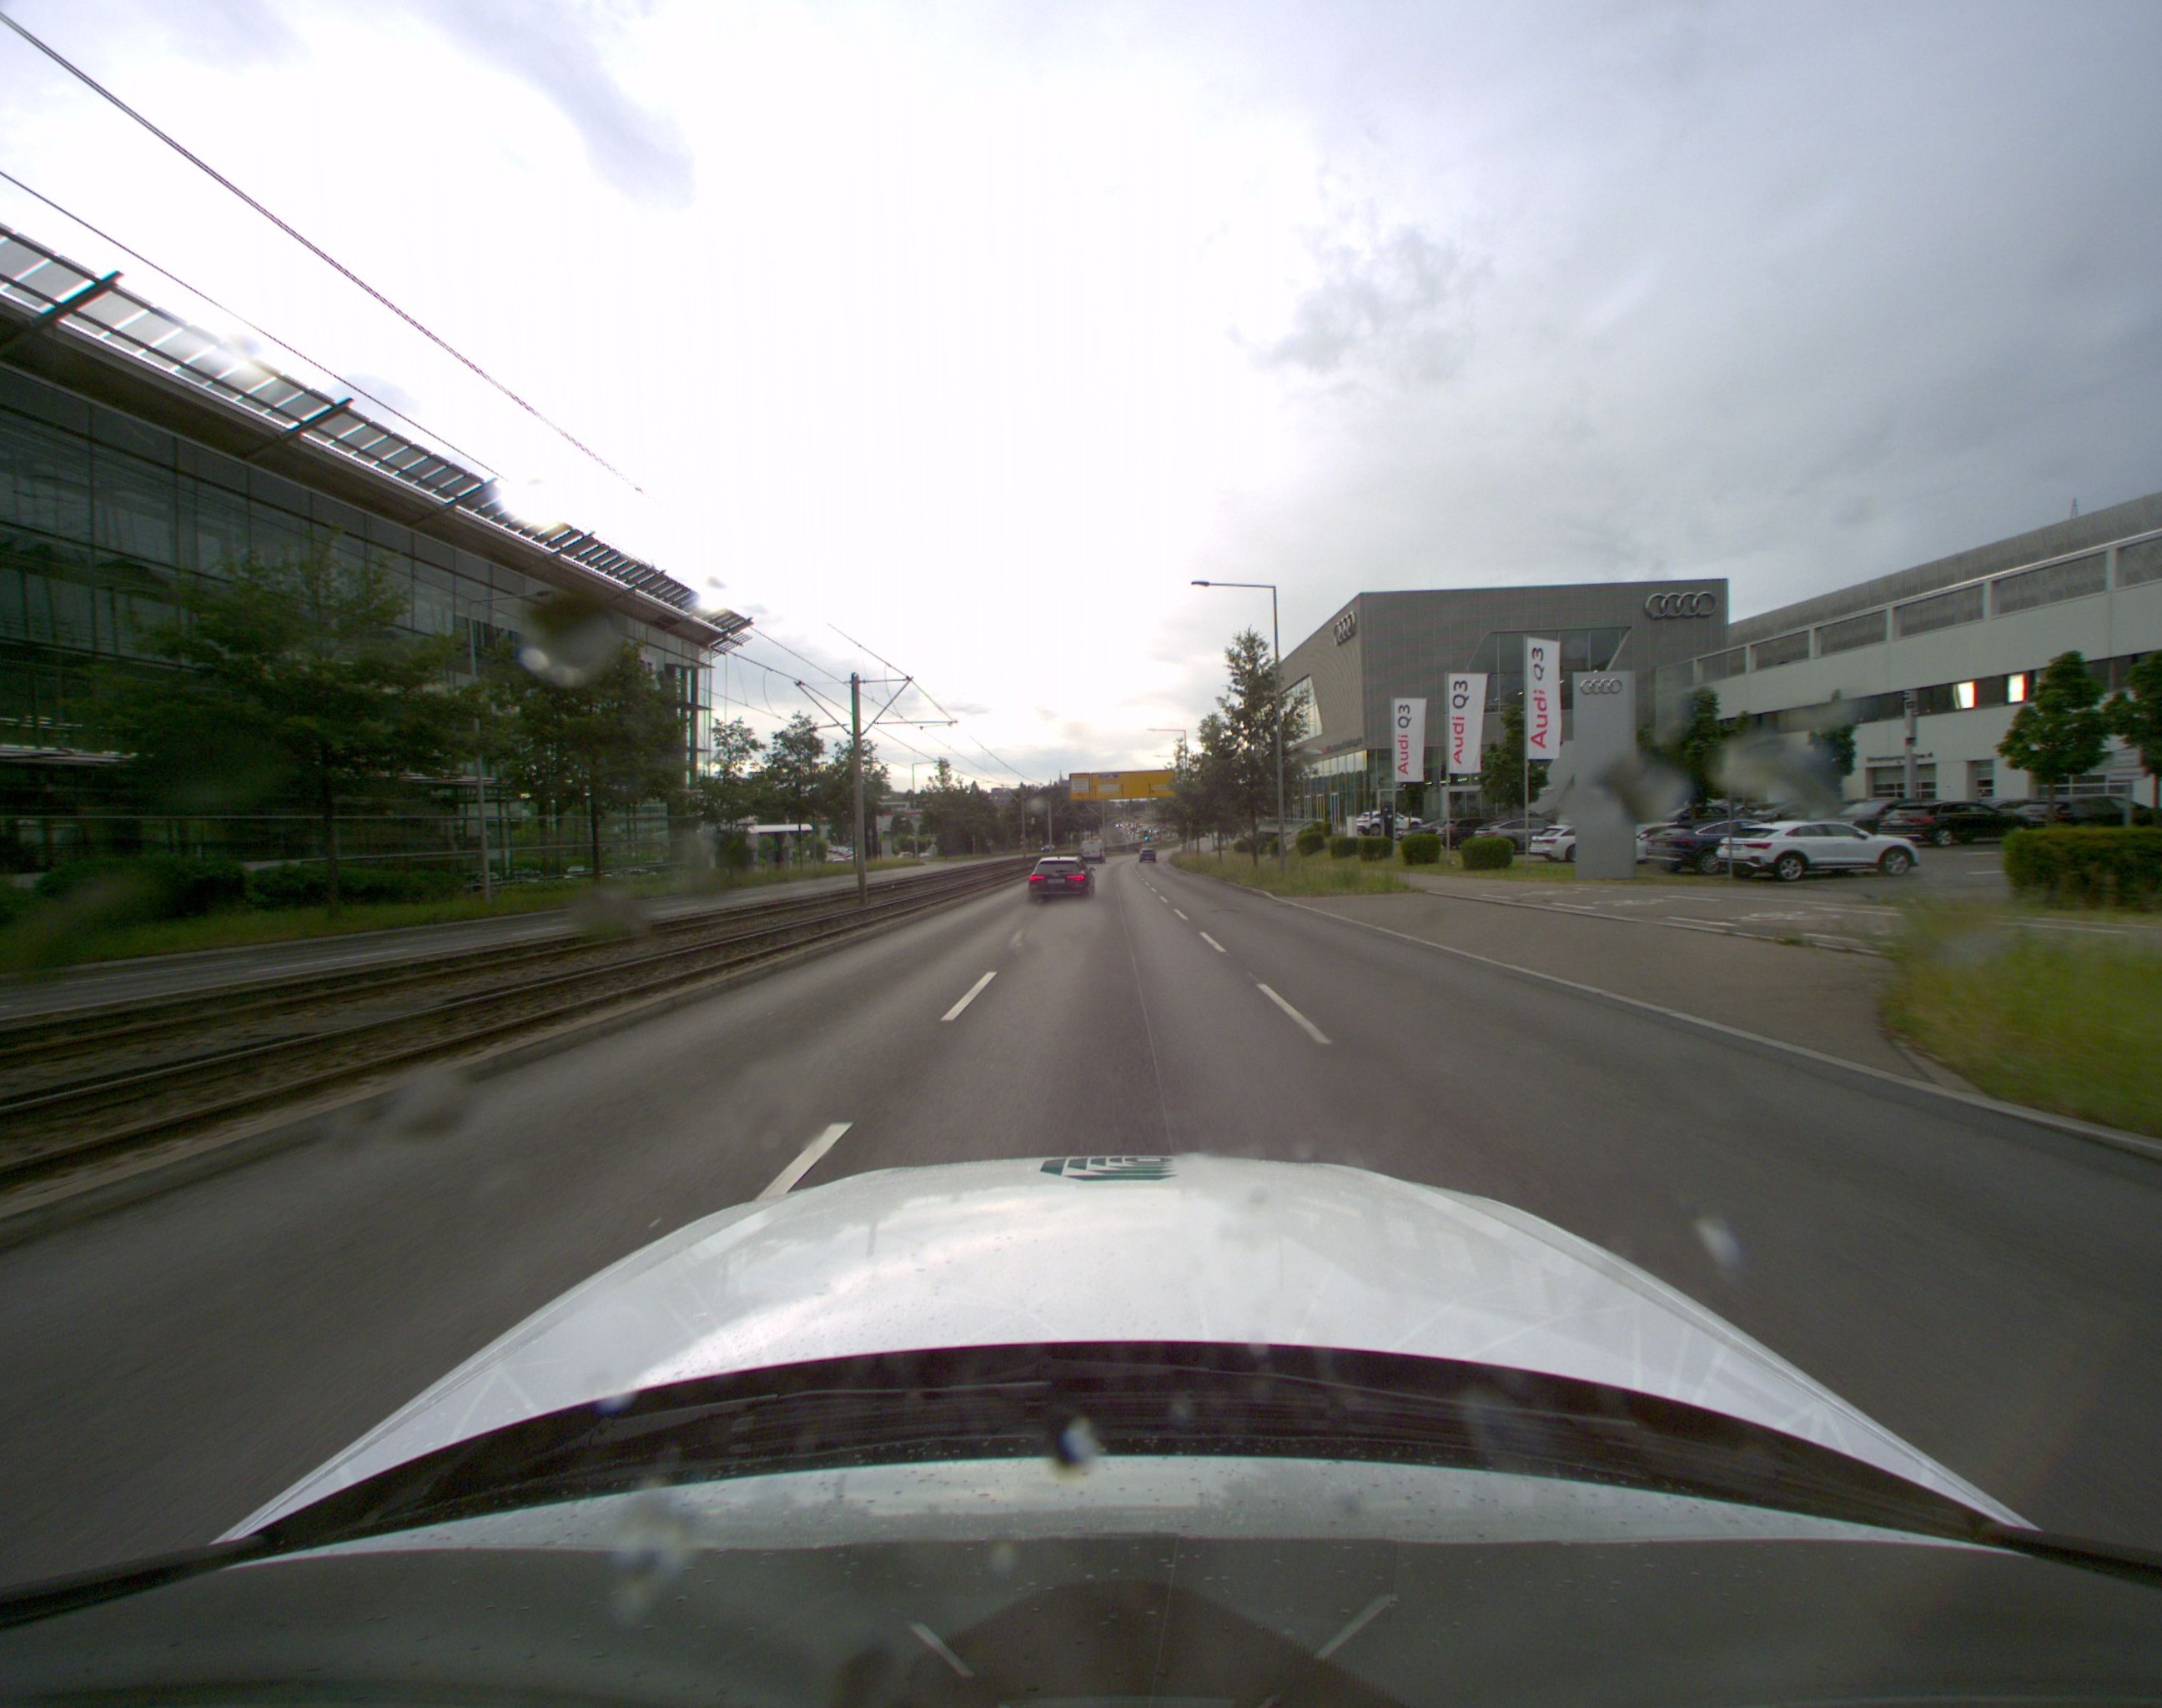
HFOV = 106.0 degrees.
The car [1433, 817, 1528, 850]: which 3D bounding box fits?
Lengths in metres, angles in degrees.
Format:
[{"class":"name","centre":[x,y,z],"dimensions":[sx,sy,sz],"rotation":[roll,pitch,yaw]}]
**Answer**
[{"class":"car","centre":[20.385,-1.052,41.656],"dimensions":[4.091,1.574,1.693],"rotation":[-1,1,0]}]

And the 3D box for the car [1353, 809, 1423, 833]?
[{"class":"car","centre":[21.510,-2.331,57.153],"dimensions":[4.244,1.574,1.693],"rotation":[-1,1,0]}]

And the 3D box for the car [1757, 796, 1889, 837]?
[{"class":"car","centre":[31.455,-1.554,34.599],"dimensions":[4.091,1.574,1.693],"rotation":[-2,1,0]}]

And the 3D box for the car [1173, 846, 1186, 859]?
[{"class":"car","centre":[15.514,-0.282,128.291],"dimensions":[2.010,1.769,4.011],"rotation":[-1,3,8]}]

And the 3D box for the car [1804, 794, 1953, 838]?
[{"class":"car","centre":[30.784,-1.447,31.510],"dimensions":[4.091,1.574,1.693],"rotation":[-1,0,0]}]

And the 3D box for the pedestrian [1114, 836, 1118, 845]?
[{"class":"pedestrian","centre":[7.475,-2.906,173.246],"dimensions":[0.632,1.854,0.753],"rotation":[0,-1,14]}]

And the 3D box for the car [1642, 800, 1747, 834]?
[{"class":"car","centre":[31.089,-1.869,41.344],"dimensions":[4.091,1.574,1.693],"rotation":[-2,1,0]}]

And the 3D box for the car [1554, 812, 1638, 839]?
[{"class":"car","centre":[31.282,-1.713,49.526],"dimensions":[4.091,1.574,1.693],"rotation":[-1,1,0]}]

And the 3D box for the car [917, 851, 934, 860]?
[{"class":"car","centre":[-26.349,0.248,137.596],"dimensions":[2.002,1.510,3.969],"rotation":[0,0,-23]}]

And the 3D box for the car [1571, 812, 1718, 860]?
[{"class":"car","centre":[20.123,-0.608,29.180],"dimensions":[4.091,1.594,1.692],"rotation":[-1,-1,0]}]

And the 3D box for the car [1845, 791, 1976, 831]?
[{"class":"car","centre":[36.947,-1.914,36.336],"dimensions":[4.092,1.574,1.692],"rotation":[-2,0,0]}]

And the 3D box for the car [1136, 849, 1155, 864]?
[{"class":"car","centre":[6.906,0.292,87.145],"dimensions":[2.012,1.623,4.004],"rotation":[0,0,4]}]

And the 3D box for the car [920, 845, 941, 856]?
[{"class":"car","centre":[-22.676,-0.481,122.457],"dimensions":[1.983,1.650,4.008],"rotation":[0,0,7]}]

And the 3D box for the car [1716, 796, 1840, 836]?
[{"class":"car","centre":[31.253,-1.694,36.614],"dimensions":[4.091,1.574,1.693],"rotation":[-2,0,0]}]

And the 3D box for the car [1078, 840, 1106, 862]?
[{"class":"car","centre":[1.186,-0.255,83.615],"dimensions":[2.499,2.177,5.156],"rotation":[0,0,5]}]

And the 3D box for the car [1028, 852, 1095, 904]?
[{"class":"car","centre":[-0.514,0.683,25.661],"dimensions":[1.757,1.463,4.630],"rotation":[-1,0,3]}]

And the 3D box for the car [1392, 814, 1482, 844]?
[{"class":"car","centre":[20.297,-1.424,46.529],"dimensions":[4.405,1.574,1.693],"rotation":[-1,1,0]}]

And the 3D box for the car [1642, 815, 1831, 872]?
[{"class":"car","centre":[19.699,-0.300,24.628],"dimensions":[4.086,1.594,1.873],"rotation":[-1,-1,4]}]

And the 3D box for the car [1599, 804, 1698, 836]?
[{"class":"car","centre":[30.551,-1.813,43.949],"dimensions":[4.091,1.574,1.826],"rotation":[-1,1,0]}]

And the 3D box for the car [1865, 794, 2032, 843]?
[{"class":"car","centre":[30.739,-1.237,28.940],"dimensions":[4.091,1.574,1.692],"rotation":[-1,-1,0]}]

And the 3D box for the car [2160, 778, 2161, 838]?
[{"class":"car","centre":[35.794,-1.470,24.491],"dimensions":[3.971,1.876,2.001],"rotation":[-1,1,2]}]

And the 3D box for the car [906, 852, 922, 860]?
[{"class":"car","centre":[-30.539,0.334,148.920],"dimensions":[2.002,1.510,3.969],"rotation":[0,0,-23]}]

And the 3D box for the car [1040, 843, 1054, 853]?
[{"class":"car","centre":[-6.090,-1.128,145.443],"dimensions":[1.874,1.520,4.409],"rotation":[-4,1,4]}]

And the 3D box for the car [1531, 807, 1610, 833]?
[{"class":"car","centre":[31.843,-2.204,53.024],"dimensions":[4.091,1.574,1.760],"rotation":[-1,1,0]}]

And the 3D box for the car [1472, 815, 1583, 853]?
[{"class":"car","centre":[20.148,-0.911,36.869],"dimensions":[4.091,1.608,1.693],"rotation":[-1,1,0]}]

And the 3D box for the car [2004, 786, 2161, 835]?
[{"class":"car","centre":[35.949,-1.525,29.045],"dimensions":[4.090,1.574,1.693],"rotation":[-2,0,1]}]

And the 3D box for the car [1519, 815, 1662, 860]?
[{"class":"car","centre":[19.821,-0.633,31.805],"dimensions":[4.504,1.594,1.692],"rotation":[-2,-1,0]}]

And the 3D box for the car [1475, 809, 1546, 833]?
[{"class":"car","centre":[30.177,-2.290,57.276],"dimensions":[4.091,1.574,1.693],"rotation":[-1,1,0]}]
